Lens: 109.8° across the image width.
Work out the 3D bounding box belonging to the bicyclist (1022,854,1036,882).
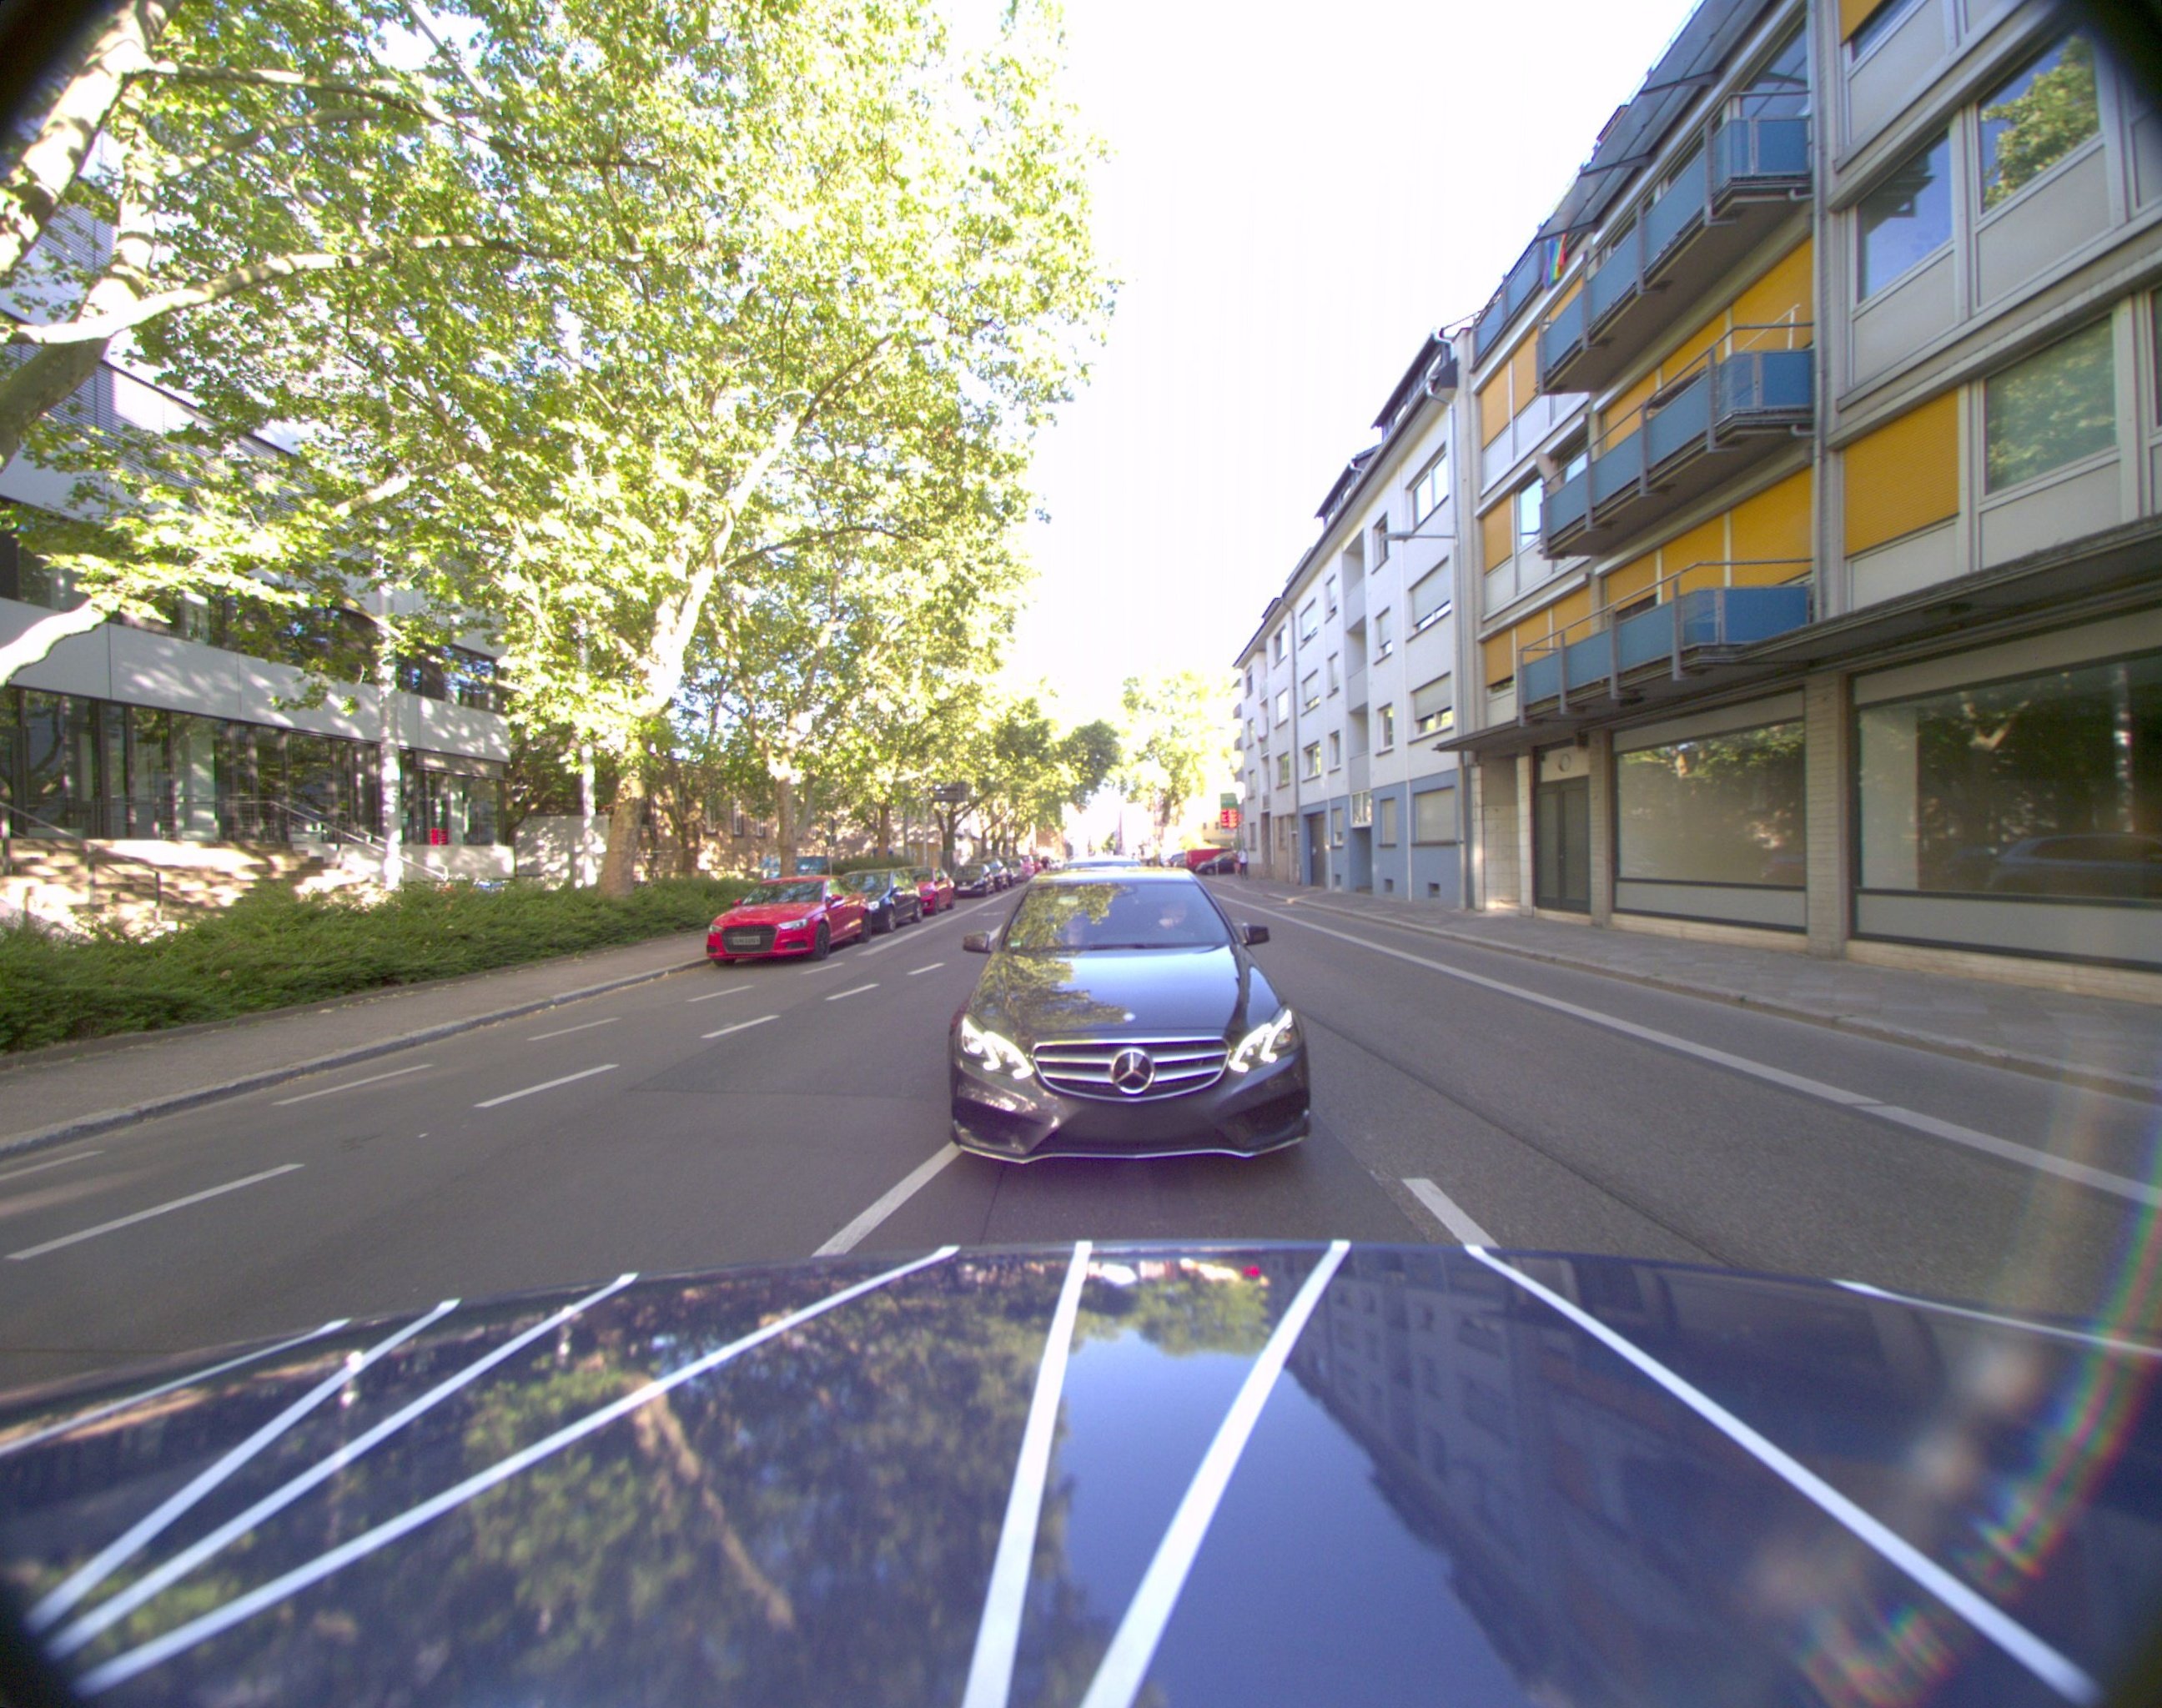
[{"bbox_3d":[-2.692,0.730,39.369,0.650,1.427,0.741,-1,1,1],"label":"bicyclist"}]

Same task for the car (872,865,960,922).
[{"bbox_3d":[-5.034,1.149,23.656,1.755,1.459,3.909,-3,0,1],"label":"car"}]

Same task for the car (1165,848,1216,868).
[{"bbox_3d":[11.288,0.382,78.720,4.991,1.926,2.083,-1,0,1],"label":"car"}]

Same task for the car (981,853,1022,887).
[{"bbox_3d":[-4.553,0.874,44.063,1.755,1.810,4.447,-3,0,1],"label":"car"}]

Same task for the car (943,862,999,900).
[{"bbox_3d":[-4.749,1.121,33.294,1.755,1.424,3.909,-3,0,1],"label":"car"}]

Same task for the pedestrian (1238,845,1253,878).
[{"bbox_3d":[8.729,0.381,40.280,0.608,1.737,0.756,-2,1,1],"label":"pedestrian"}]

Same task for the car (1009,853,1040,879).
[{"bbox_3d":[-4.101,0.825,55.756,1.755,1.753,4.447,-3,0,1],"label":"car"}]

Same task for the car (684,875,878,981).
[{"bbox_3d":[-5.111,1.184,13.598,1.755,1.400,4.000,-3,0,1],"label":"car"}]

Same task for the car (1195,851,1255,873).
[{"bbox_3d":[10.357,0.570,54.782,3.997,1.412,1.743,-1,0,1],"label":"car"}]

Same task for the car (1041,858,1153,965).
[{"bbox_3d":[0.271,0.891,13.610,1.667,1.563,4.000,-1,0,1],"label":"car"}]

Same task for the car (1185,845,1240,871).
[{"bbox_3d":[10.332,0.309,60.081,3.997,1.926,1.867,-1,0,1],"label":"car"}]

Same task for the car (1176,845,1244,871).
[{"bbox_3d":[10.637,0.302,63.106,5.223,1.969,2.257,-1,0,1],"label":"car"}]

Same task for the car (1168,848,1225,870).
[{"bbox_3d":[11.100,0.452,73.522,5.143,1.926,2.187,-1,0,1],"label":"car"}]

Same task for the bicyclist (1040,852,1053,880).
[{"bbox_3d":[-1.757,0.607,39.031,0.581,1.424,0.741,-1,1,1],"label":"bicyclist"}]

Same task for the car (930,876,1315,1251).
[{"bbox_3d":[0.212,0.987,5.358,1.667,1.499,4.000,-1,0,1],"label":"car"}]

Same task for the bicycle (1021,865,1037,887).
[{"bbox_3d":[-2.678,1.126,39.400,0.650,1.053,1.595,-1,0,1],"label":"bicycle"}]

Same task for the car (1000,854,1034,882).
[{"bbox_3d":[-4.272,0.883,50.945,1.755,1.718,4.447,-3,0,1],"label":"car"}]

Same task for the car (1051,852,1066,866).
[{"bbox_3d":[-3.014,0.654,103.204,1.755,1.652,4.447,-3,0,1],"label":"car"}]

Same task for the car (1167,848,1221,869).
[{"bbox_3d":[11.273,0.413,76.222,5.054,1.926,2.161,-1,0,1],"label":"car"}]

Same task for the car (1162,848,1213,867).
[{"bbox_3d":[11.323,0.356,81.185,5.042,1.926,2.315,-1,0,1],"label":"car"}]

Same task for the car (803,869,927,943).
[{"bbox_3d":[-5.084,1.175,18.444,1.755,1.424,3.909,-3,0,1],"label":"car"}]

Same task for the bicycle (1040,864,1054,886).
[{"bbox_3d":[-1.729,1.083,38.990,0.574,1.053,1.595,-1,0,1],"label":"bicycle"}]

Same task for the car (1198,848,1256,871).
[{"bbox_3d":[10.914,0.399,56.992,3.997,1.552,1.743,-1,0,1],"label":"car"}]

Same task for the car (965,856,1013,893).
[{"bbox_3d":[-4.562,0.979,38.264,1.755,1.644,4.174,-3,0,1],"label":"car"}]

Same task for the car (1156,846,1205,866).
[{"bbox_3d":[11.191,0.210,85.522,5.143,2.135,2.187,-1,0,1],"label":"car"}]

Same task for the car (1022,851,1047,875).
[{"bbox_3d":[-3.996,0.732,66.390,1.755,1.941,4.447,-3,0,1],"label":"car"}]

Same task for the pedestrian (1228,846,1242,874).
[{"bbox_3d":[9.080,0.357,44.726,0.604,1.632,0.842,-2,1,1],"label":"pedestrian"}]
